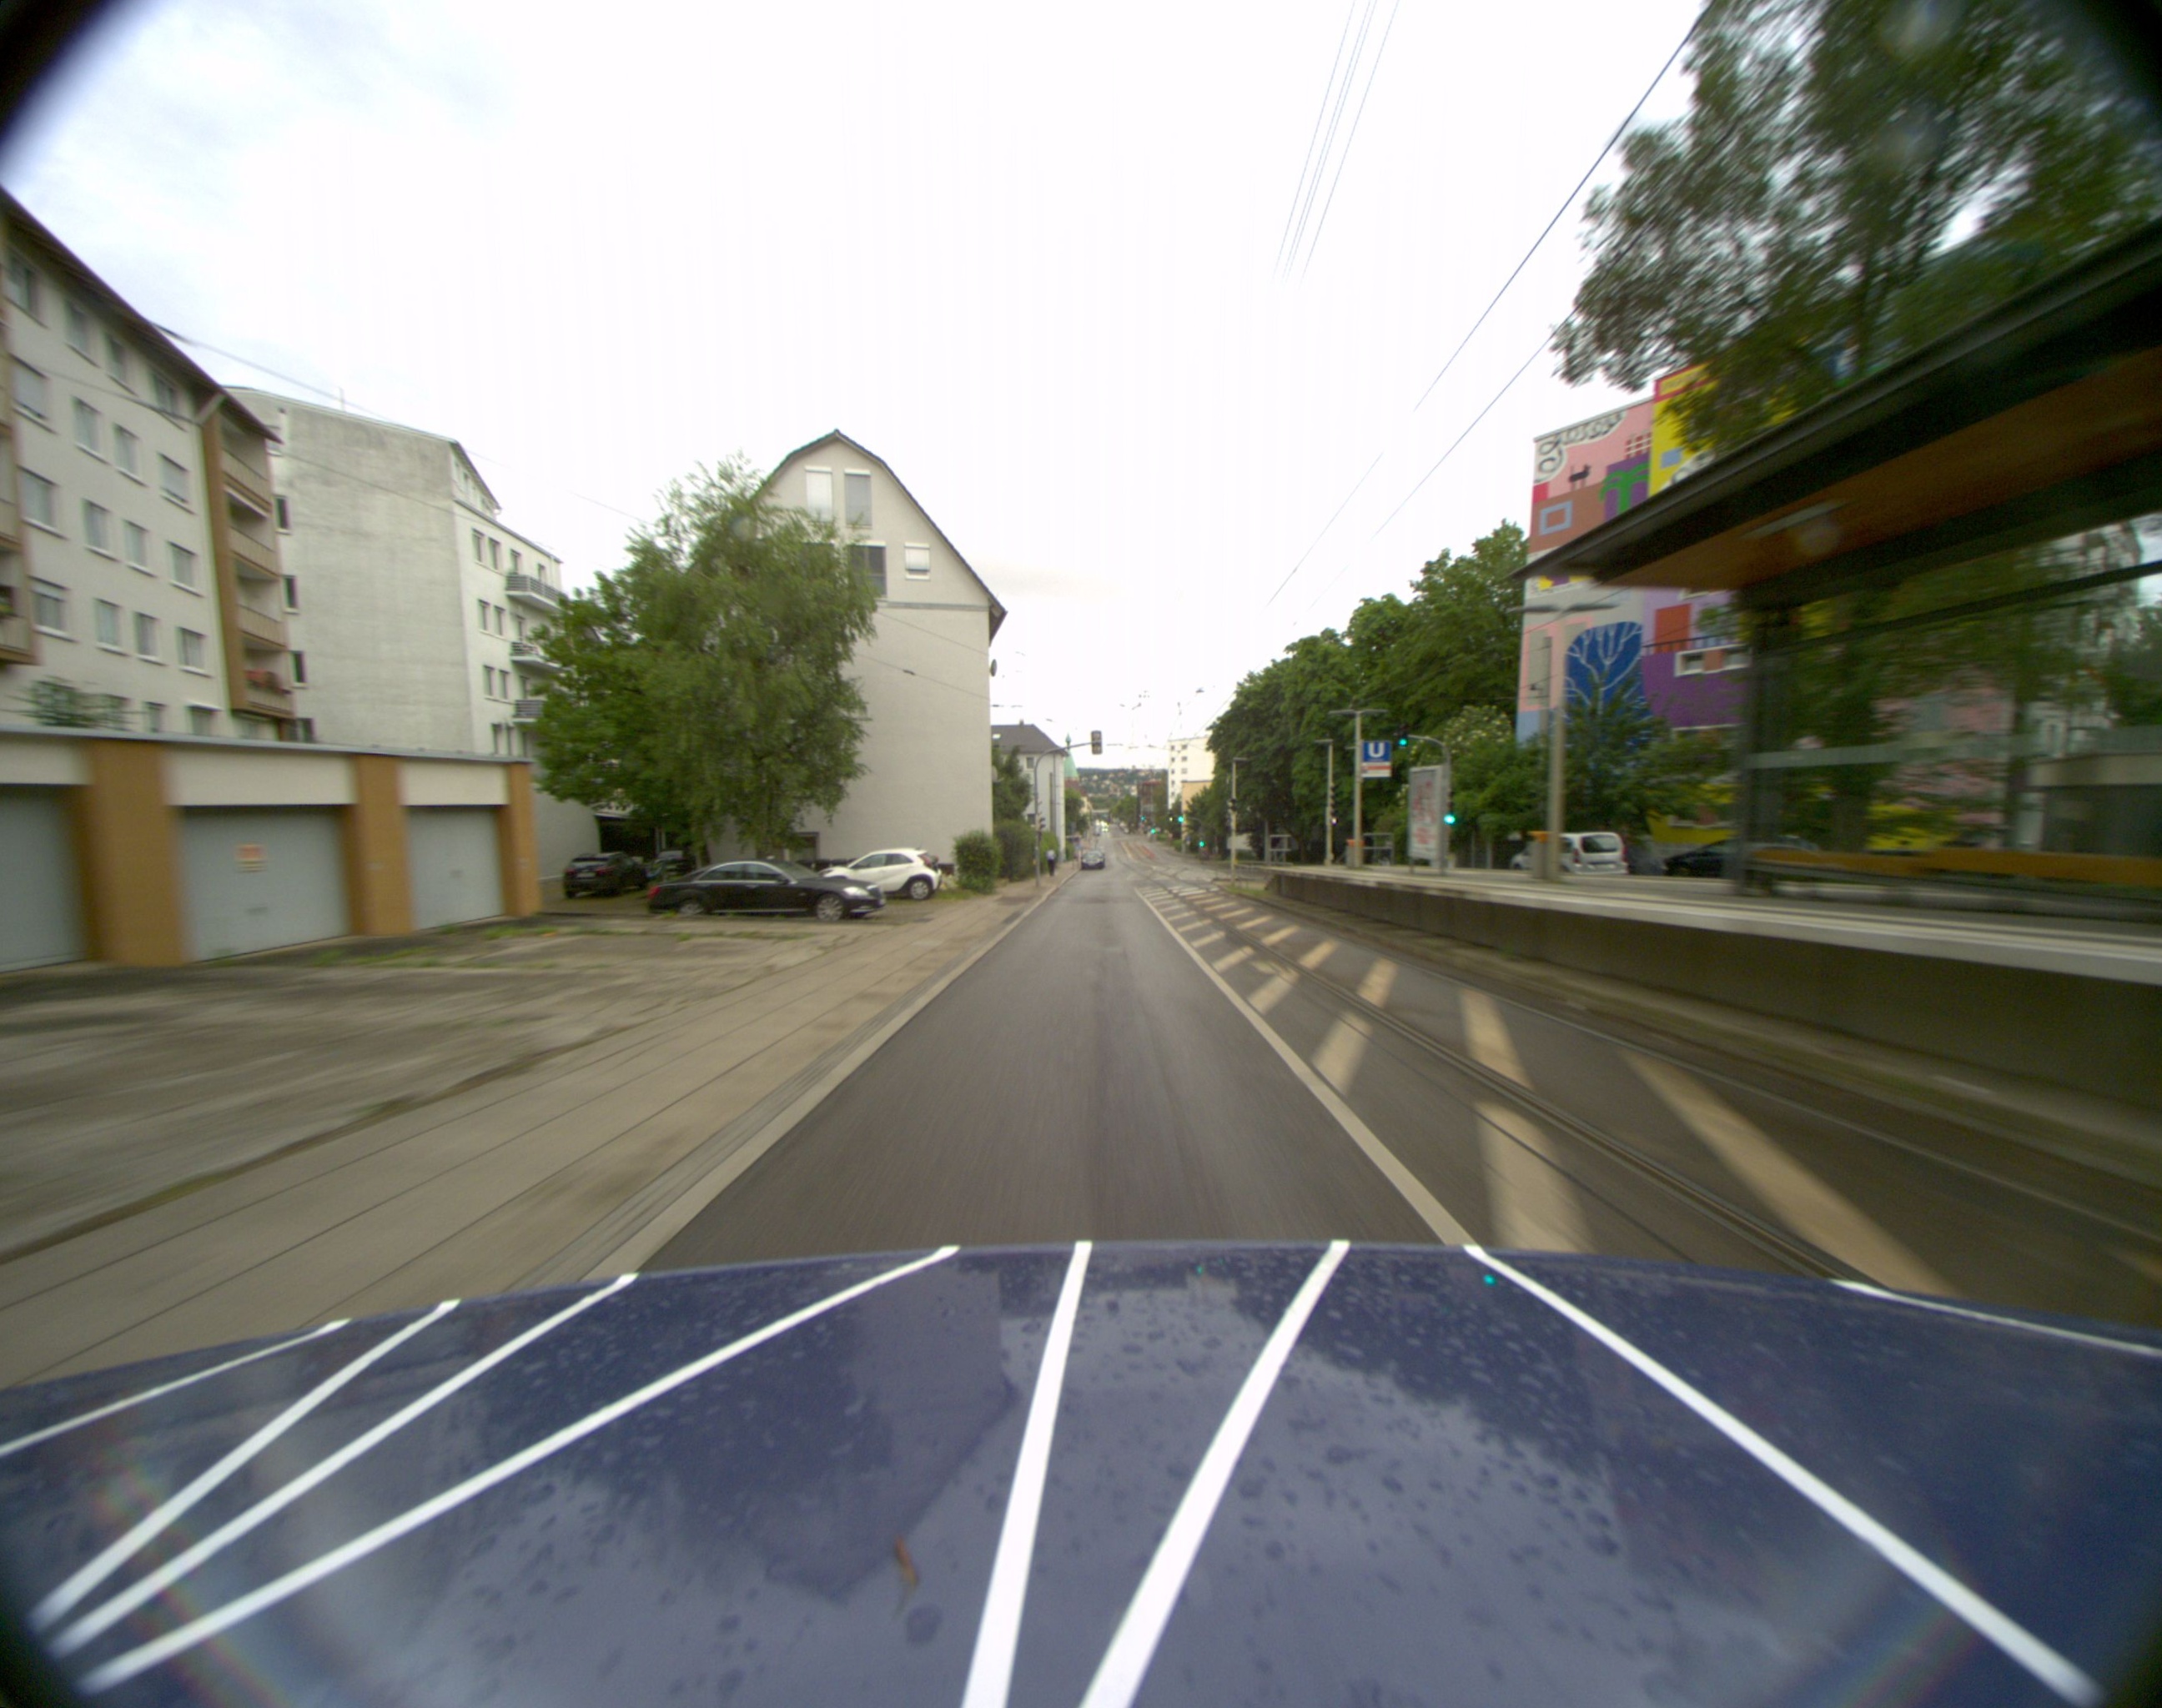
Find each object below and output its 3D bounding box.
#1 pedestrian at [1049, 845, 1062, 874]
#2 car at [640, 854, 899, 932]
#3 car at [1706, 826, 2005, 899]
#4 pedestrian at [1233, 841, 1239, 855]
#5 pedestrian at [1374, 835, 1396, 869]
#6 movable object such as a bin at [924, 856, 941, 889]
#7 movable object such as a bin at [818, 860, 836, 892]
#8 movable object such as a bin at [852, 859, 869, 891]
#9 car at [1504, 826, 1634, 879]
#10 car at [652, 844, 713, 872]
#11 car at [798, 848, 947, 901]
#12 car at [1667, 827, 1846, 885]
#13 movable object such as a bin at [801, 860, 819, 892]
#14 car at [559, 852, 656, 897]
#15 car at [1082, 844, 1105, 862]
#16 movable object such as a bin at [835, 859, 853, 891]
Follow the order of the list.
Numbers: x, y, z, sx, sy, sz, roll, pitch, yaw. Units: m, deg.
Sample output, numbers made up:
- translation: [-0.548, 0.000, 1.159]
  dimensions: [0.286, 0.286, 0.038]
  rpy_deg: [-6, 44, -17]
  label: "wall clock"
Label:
- translation: [-1.435, 0.322, 42.992]
  dimensions: [0.657, 1.611, 0.630]
  rpy_deg: [0, 1, 7]
  label: "pedestrian"
- translation: [-6.847, 0.830, 17.081]
  dimensions: [4.943, 1.429, 1.974]
  rpy_deg: [-2, 2, 2]
  label: "car"
- translation: [17.738, 0.173, 17.733]
  dimensions: [4.483, 1.533, 1.948]
  rpy_deg: [0, 1, 22]
  label: "car"
- translation: [16.237, -0.649, 79.554]
  dimensions: [0.529, 1.418, 0.529]
  rpy_deg: [-2, 1, 3]
  label: "pedestrian"
- translation: [14.182, -0.097, 35.426]
  dimensions: [0.754, 1.584, 0.617]
  rpy_deg: [-2, 1, 3]
  label: "pedestrian"
- translation: [-5.365, 0.660, 27.415]
  dimensions: [0.536, 1.133, 0.701]
  rpy_deg: [-3, 1, -14]
  label: "movable object such as a bin"
- translation: [-8.904, 0.756, 26.645]
  dimensions: [0.517, 1.105, 0.642]
  rpy_deg: [-1, 1, -12]
  label: "movable object such as a bin"
- translation: [-7.833, 0.721, 26.946]
  dimensions: [0.517, 1.105, 0.642]
  rpy_deg: [-1, 1, -12]
  label: "movable object such as a bin"
- translation: [17.107, -0.052, 26.939]
  dimensions: [1.751, 1.707, 4.441]
  rpy_deg: [0, 0, 0]
  label: "car"
- translation: [-20.203, 0.190, 38.679]
  dimensions: [1.656, 1.329, 3.835]
  rpy_deg: [-2, 1, -10]
  label: "car"
- translation: [-6.193, 0.587, 22.951]
  dimensions: [3.998, 1.459, 1.815]
  rpy_deg: [-1, 2, -4]
  label: "car"
- translation: [21.962, -0.012, 24.885]
  dimensions: [1.714, 1.629, 3.943]
  rpy_deg: [-1, 4, -28]
  label: "car"
- translation: [-9.441, 0.761, 26.483]
  dimensions: [0.517, 1.105, 0.642]
  rpy_deg: [-1, 1, -12]
  label: "movable object such as a bin"
- translation: [-17.713, 0.698, 28.647]
  dimensions: [1.690, 1.503, 3.996]
  rpy_deg: [-2, 1, -10]
  label: "car"
- translation: [1.064, -0.104, 63.573]
  dimensions: [1.725, 1.350, 4.000]
  rpy_deg: [-1, 1, 2]
  label: "car"
- translation: [-8.337, 0.743, 26.760]
  dimensions: [0.517, 1.105, 0.642]
  rpy_deg: [-1, 1, -12]
  label: "movable object such as a bin"
